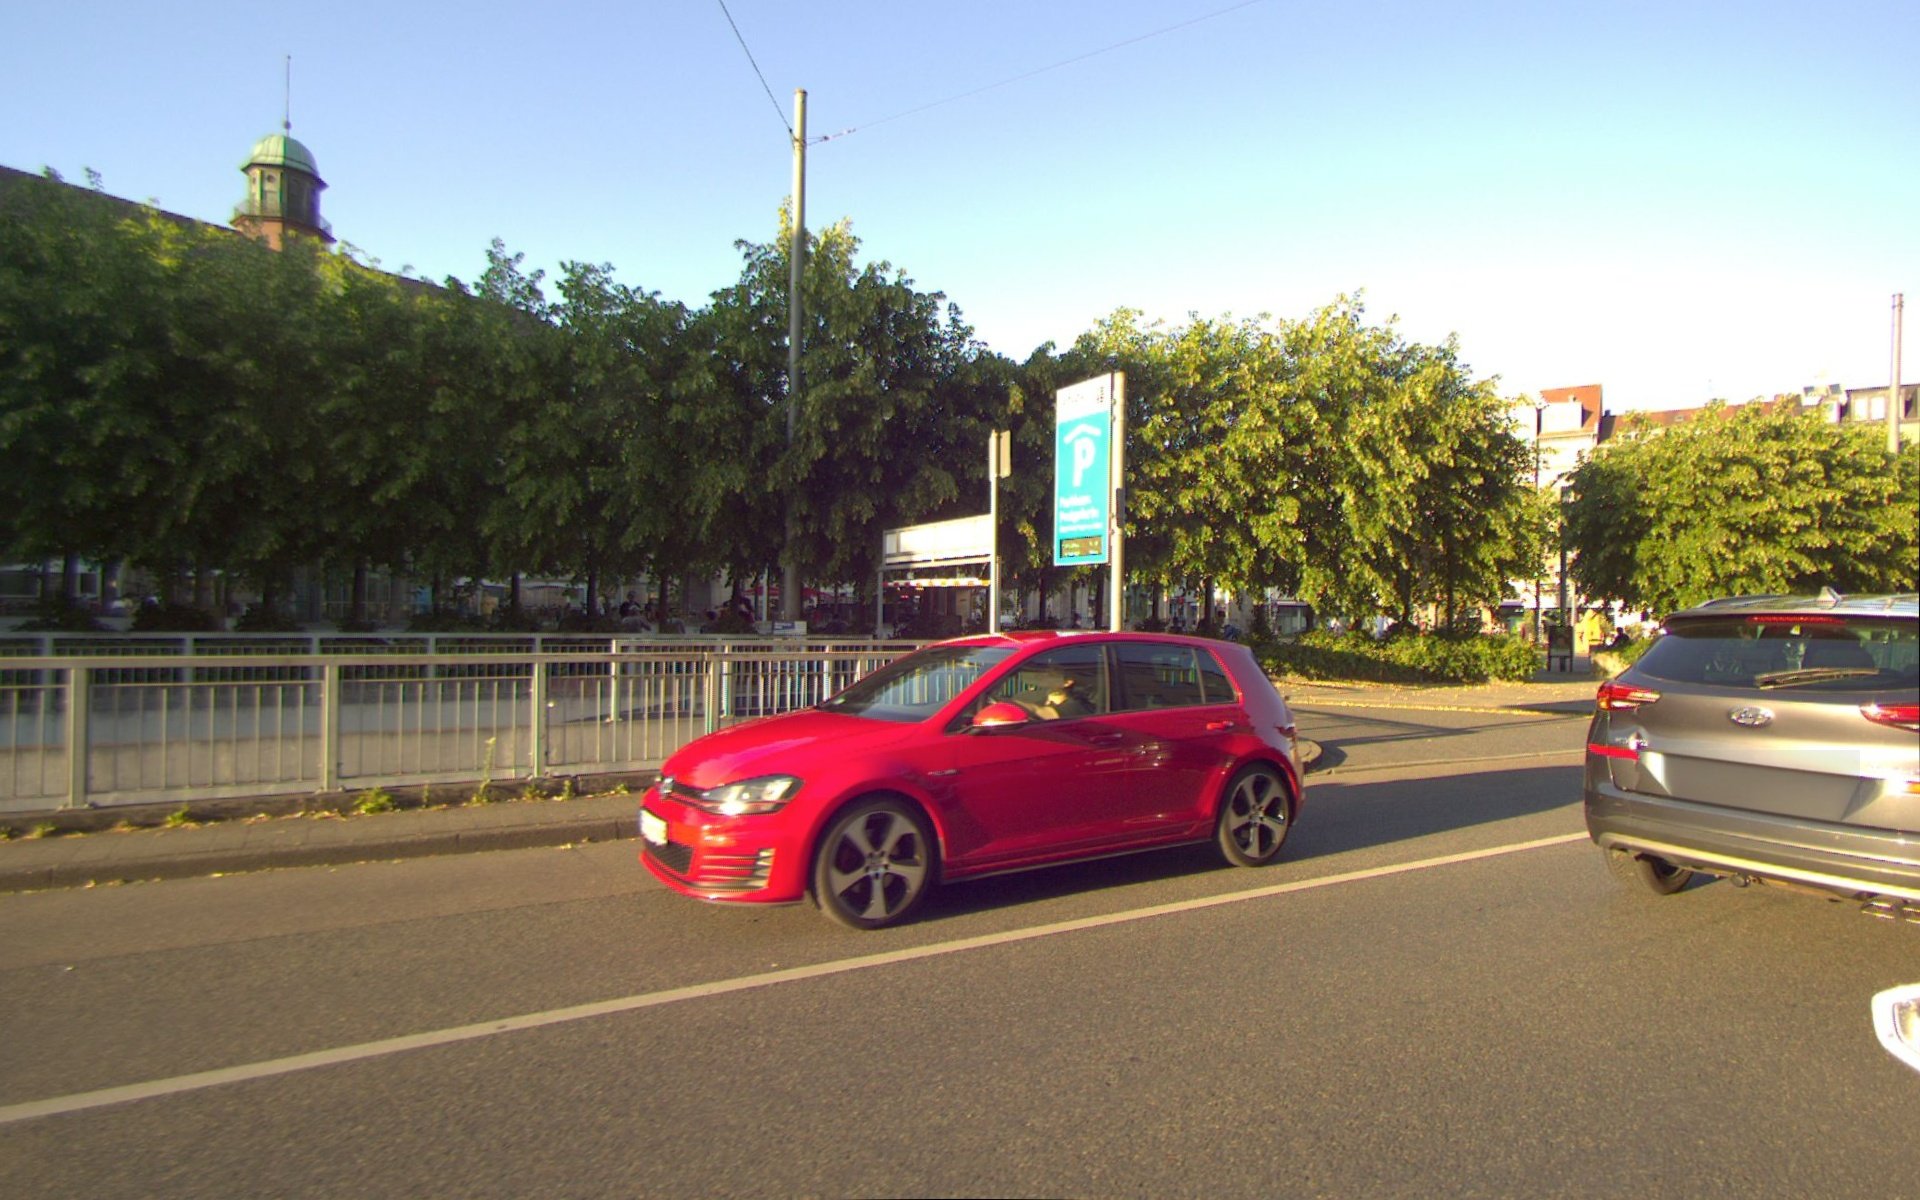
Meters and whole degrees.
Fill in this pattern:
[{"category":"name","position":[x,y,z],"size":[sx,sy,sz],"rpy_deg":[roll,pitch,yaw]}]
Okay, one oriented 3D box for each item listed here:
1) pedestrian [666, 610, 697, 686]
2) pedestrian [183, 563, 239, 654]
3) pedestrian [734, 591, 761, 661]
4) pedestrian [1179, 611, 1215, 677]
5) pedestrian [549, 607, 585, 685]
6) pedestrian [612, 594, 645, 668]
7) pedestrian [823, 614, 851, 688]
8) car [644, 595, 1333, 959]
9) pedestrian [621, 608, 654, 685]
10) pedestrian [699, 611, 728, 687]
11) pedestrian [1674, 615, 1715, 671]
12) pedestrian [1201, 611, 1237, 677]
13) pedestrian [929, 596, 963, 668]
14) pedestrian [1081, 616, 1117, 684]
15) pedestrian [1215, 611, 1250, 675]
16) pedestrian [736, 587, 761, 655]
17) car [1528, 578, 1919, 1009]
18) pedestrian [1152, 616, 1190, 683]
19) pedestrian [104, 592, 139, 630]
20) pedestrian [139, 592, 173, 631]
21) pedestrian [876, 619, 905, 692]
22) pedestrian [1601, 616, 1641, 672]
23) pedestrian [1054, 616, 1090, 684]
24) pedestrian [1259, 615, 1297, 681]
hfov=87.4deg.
[{"category":"pedestrian","position":[-6.043,1.027,21.806],"size":[0.558,1.616,0.678],"rpy_deg":[1,0,-11]},{"category":"pedestrian","position":[-13.717,0.148,18.395],"size":[0.693,1.616,0.673],"rpy_deg":[1,0,42]},{"category":"pedestrian","position":[-5.001,0.602,23.645],"size":[0.558,1.616,0.791],"rpy_deg":[1,0,-11]},{"category":"pedestrian","position":[5.859,1.078,24.874],"size":[0.558,1.616,0.791],"rpy_deg":[1,0,-11]},{"category":"pedestrian","position":[-8.289,0.956,21.212],"size":[0.558,1.616,0.678],"rpy_deg":[1,0,-11]},{"category":"pedestrian","position":[-7.401,0.693,22.459],"size":[0.558,1.616,0.791],"rpy_deg":[1,0,-11]},{"category":"pedestrian","position":[-2.773,1.134,22.570],"size":[0.558,1.616,0.678],"rpy_deg":[1,0,-11]},{"category":"car","position":[0.265,0.836,6.100],"size":[3.905,1.572,1.684],"rpy_deg":[1,-3,-31]},{"category":"pedestrian","position":[-6.964,0.995,21.694],"size":[0.558,1.616,0.678],"rpy_deg":[1,0,-11]},{"category":"pedestrian","position":[-5.360,1.051,21.878],"size":[0.558,1.616,0.678],"rpy_deg":[1,0,-11]},{"category":"pedestrian","position":[21.668,1.267,29.642],"size":[0.558,1.616,0.791],"rpy_deg":[1,0,-11]},{"category":"pedestrian","position":[6.485,1.095,25.151],"size":[0.558,1.616,0.791],"rpy_deg":[1,0,-11]},{"category":"pedestrian","position":[-0.332,0.734,23.146],"size":[0.665,1.616,0.678],"rpy_deg":[1,0,-11]},{"category":"pedestrian","position":[3.366,1.200,24.333],"size":[0.665,1.616,0.678],"rpy_deg":[1,0,-11]},{"category":"pedestrian","position":[7.042,1.098,25.979],"size":[0.558,1.616,0.791],"rpy_deg":[1,0,-11]},{"category":"pedestrian","position":[-5.143,0.512,24.450],"size":[0.558,1.616,0.791],"rpy_deg":[1,0,-11]},{"category":"car","position":[5.179,0.795,5.468],"size":[4.057,1.671,1.887],"rpy_deg":[1,-1,-31]},{"category":"pedestrian","position":[5.200,1.222,24.780],"size":[0.665,1.616,0.678],"rpy_deg":[1,0,-11]},{"category":"pedestrian","position":[-24.329,0.323,29.139],"size":[0.703,1.073,0.609],"rpy_deg":[1,0,35]},{"category":"pedestrian","position":[-23.799,0.326,29.733],"size":[0.703,1.134,0.609],"rpy_deg":[1,0,35]},{"category":"pedestrian","position":[-1.586,1.252,22.779],"size":[0.558,1.616,0.678],"rpy_deg":[1,0,-11]},{"category":"pedestrian","position":[19.227,1.273,29.230],"size":[0.558,1.616,0.791],"rpy_deg":[1,0,-11]},{"category":"pedestrian","position":[2.700,1.195,24.205],"size":[0.665,1.616,0.678],"rpy_deg":[1,0,-11]},{"category":"pedestrian","position":[7.952,1.190,25.138],"size":[0.558,1.616,0.791],"rpy_deg":[1,0,-11]}]
